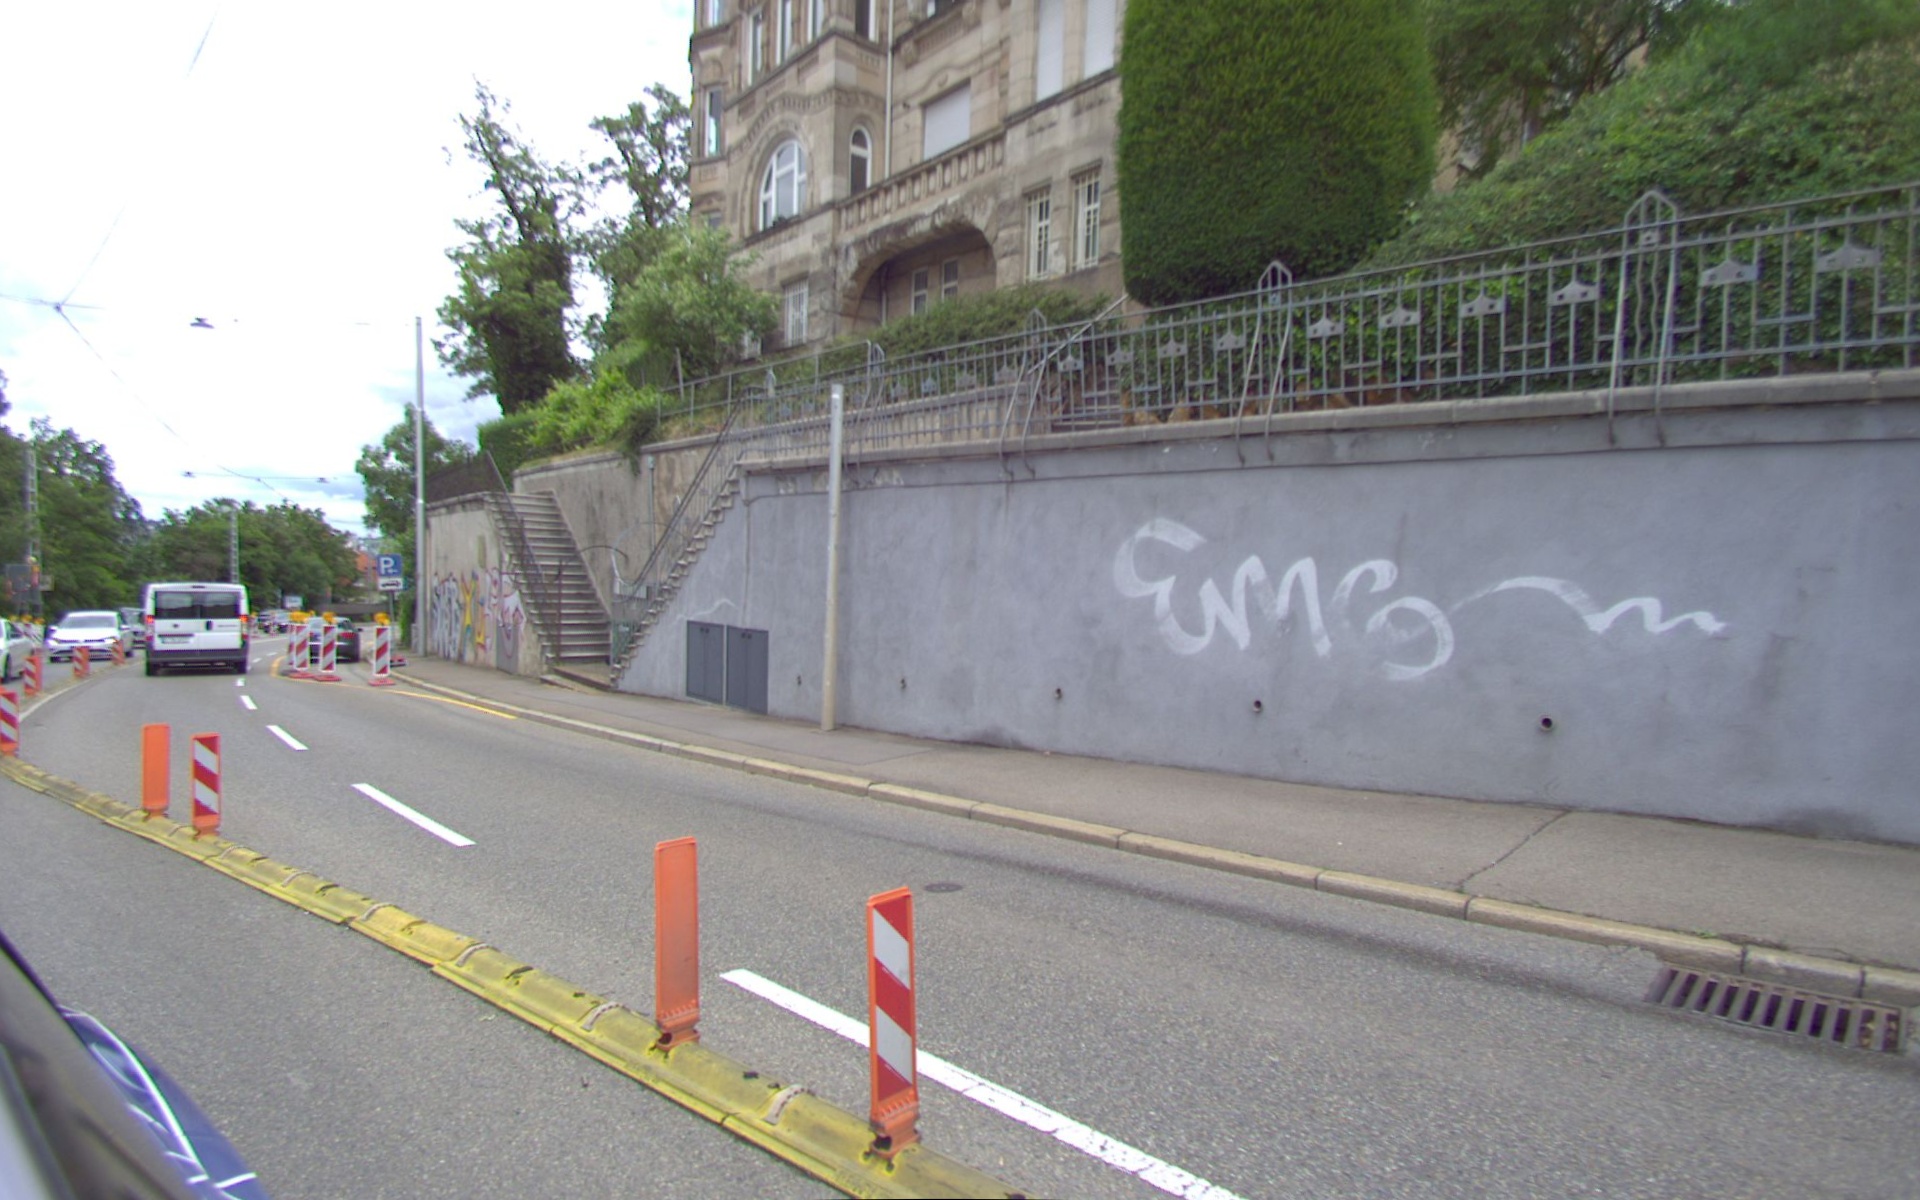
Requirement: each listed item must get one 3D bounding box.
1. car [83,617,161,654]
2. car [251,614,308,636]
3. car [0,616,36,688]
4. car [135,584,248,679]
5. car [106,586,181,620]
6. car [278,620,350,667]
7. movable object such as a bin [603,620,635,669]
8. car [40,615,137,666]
[{"bbox_3d":[-36.876,1.552,44.629,1.769,1.522,4.013,2,-1,-27],"label":"car"},{"bbox_3d":[-48.109,1.763,71.654,1.764,1.492,4.253,0,-1,-10],"label":"car"},{"bbox_3d":[-21.845,1.127,22.172,1.763,1.491,4.256,-1,0,-34],"label":"car"},{"bbox_3d":[-19.701,0.794,25.850,2.041,2.204,4.971,2,-2,-40],"label":"car"},{"bbox_3d":[-45.705,0.191,56.754,1.827,1.686,4.293,6,-3,-20],"label":"car"},{"bbox_3d":[-20.529,1.350,32.184,1.774,1.383,4.400,2,-2,-33],"label":"car"},{"bbox_3d":[-6.646,0.863,19.722,0.447,0.918,0.509,-1,-1,-37],"label":"movable object such as a bin"},{"bbox_3d":[-28.479,1.287,33.200,1.763,1.563,4.257,0,-1,-32],"label":"car"}]
